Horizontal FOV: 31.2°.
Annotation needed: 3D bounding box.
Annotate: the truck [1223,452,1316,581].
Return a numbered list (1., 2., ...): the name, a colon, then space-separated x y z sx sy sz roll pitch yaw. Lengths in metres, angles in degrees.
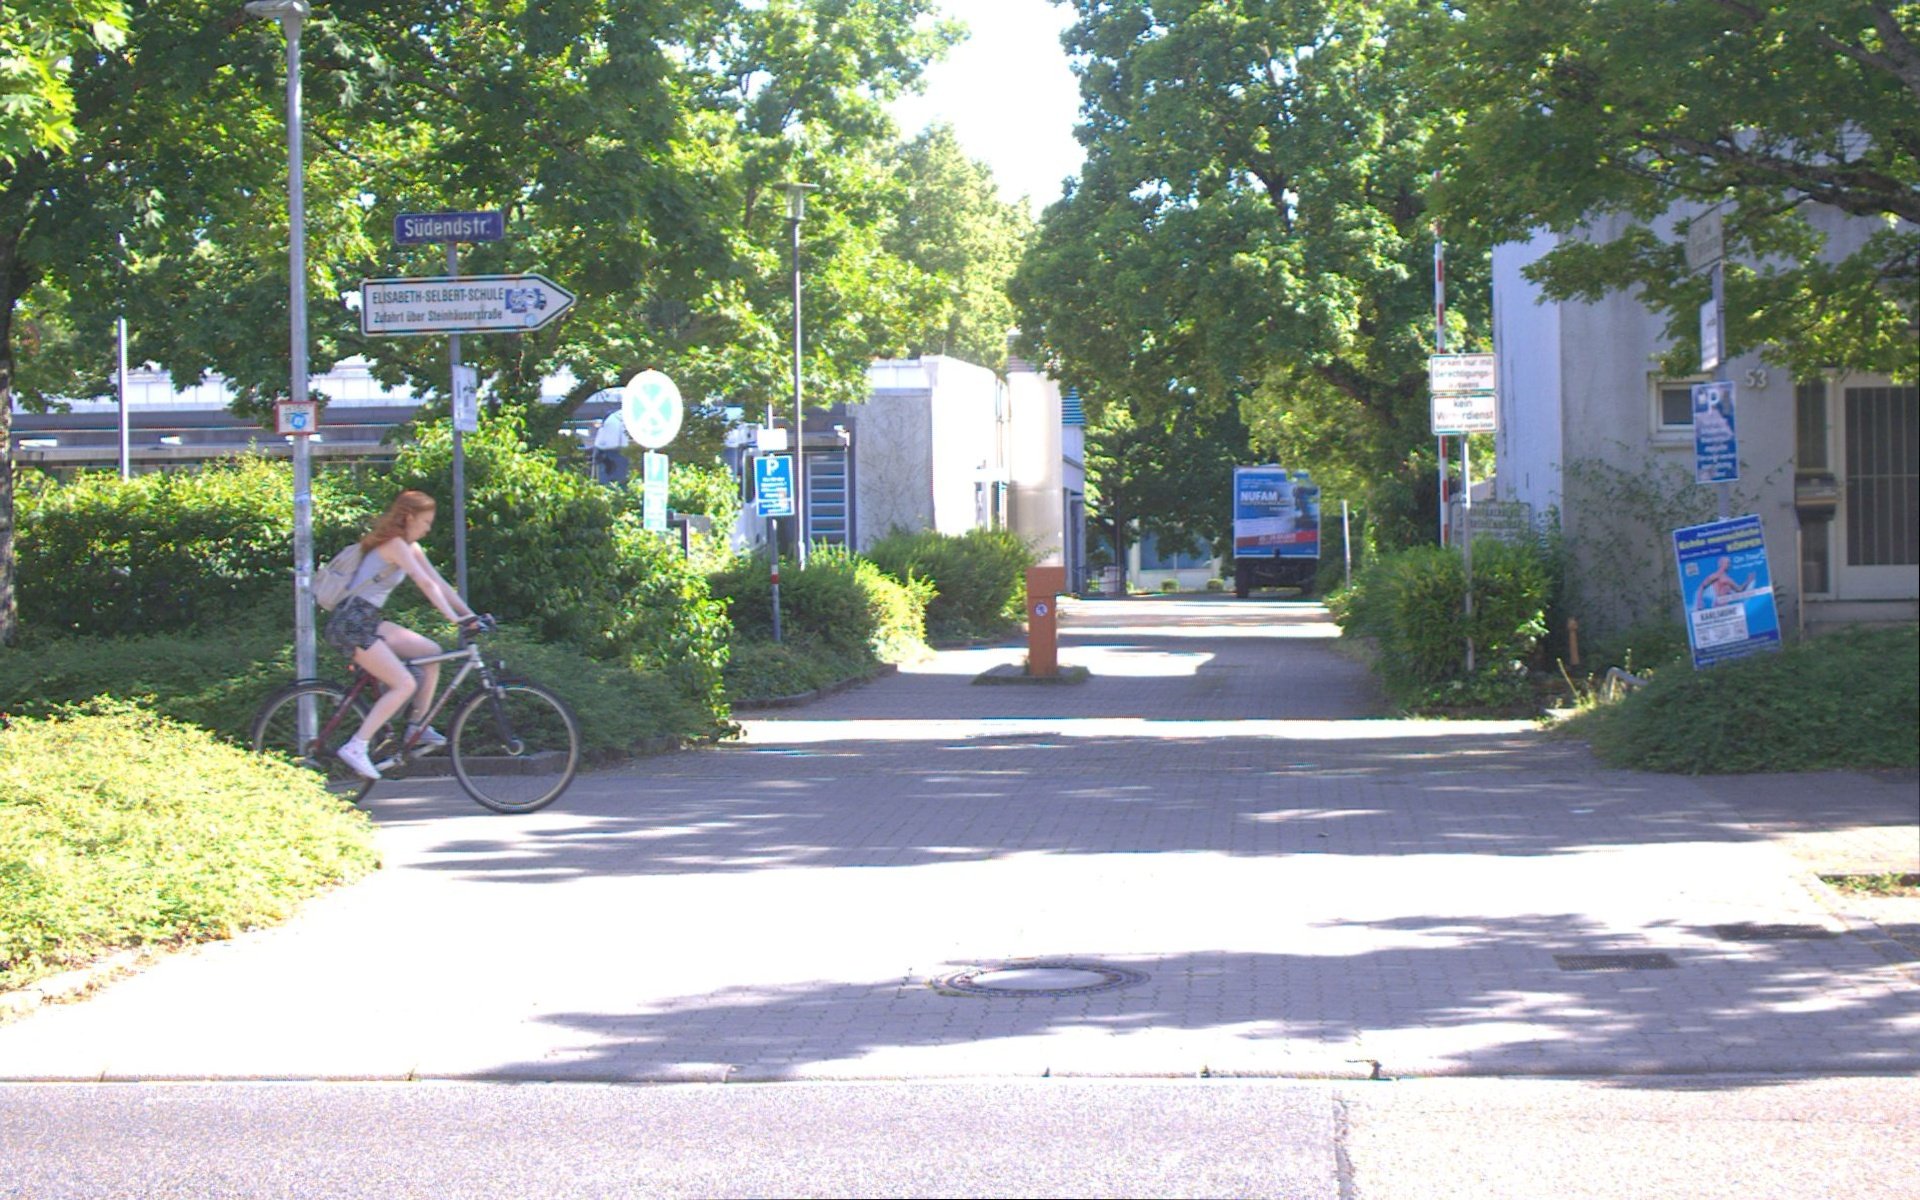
1. truck: 9.742 -2.594 107.687 2.760 3.856 9.328 0 1 6

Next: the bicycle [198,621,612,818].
1. bicycle: -2.928 0.621 18.219 2.082 0.992 0.596 0 1 5

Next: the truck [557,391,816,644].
1. truck: -4.267 -1.323 55.193 2.803 3.793 6.922 0 1 7

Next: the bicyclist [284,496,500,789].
1. bicyclist: -3.001 0.213 18.207 1.011 1.518 0.596 0 1 5
